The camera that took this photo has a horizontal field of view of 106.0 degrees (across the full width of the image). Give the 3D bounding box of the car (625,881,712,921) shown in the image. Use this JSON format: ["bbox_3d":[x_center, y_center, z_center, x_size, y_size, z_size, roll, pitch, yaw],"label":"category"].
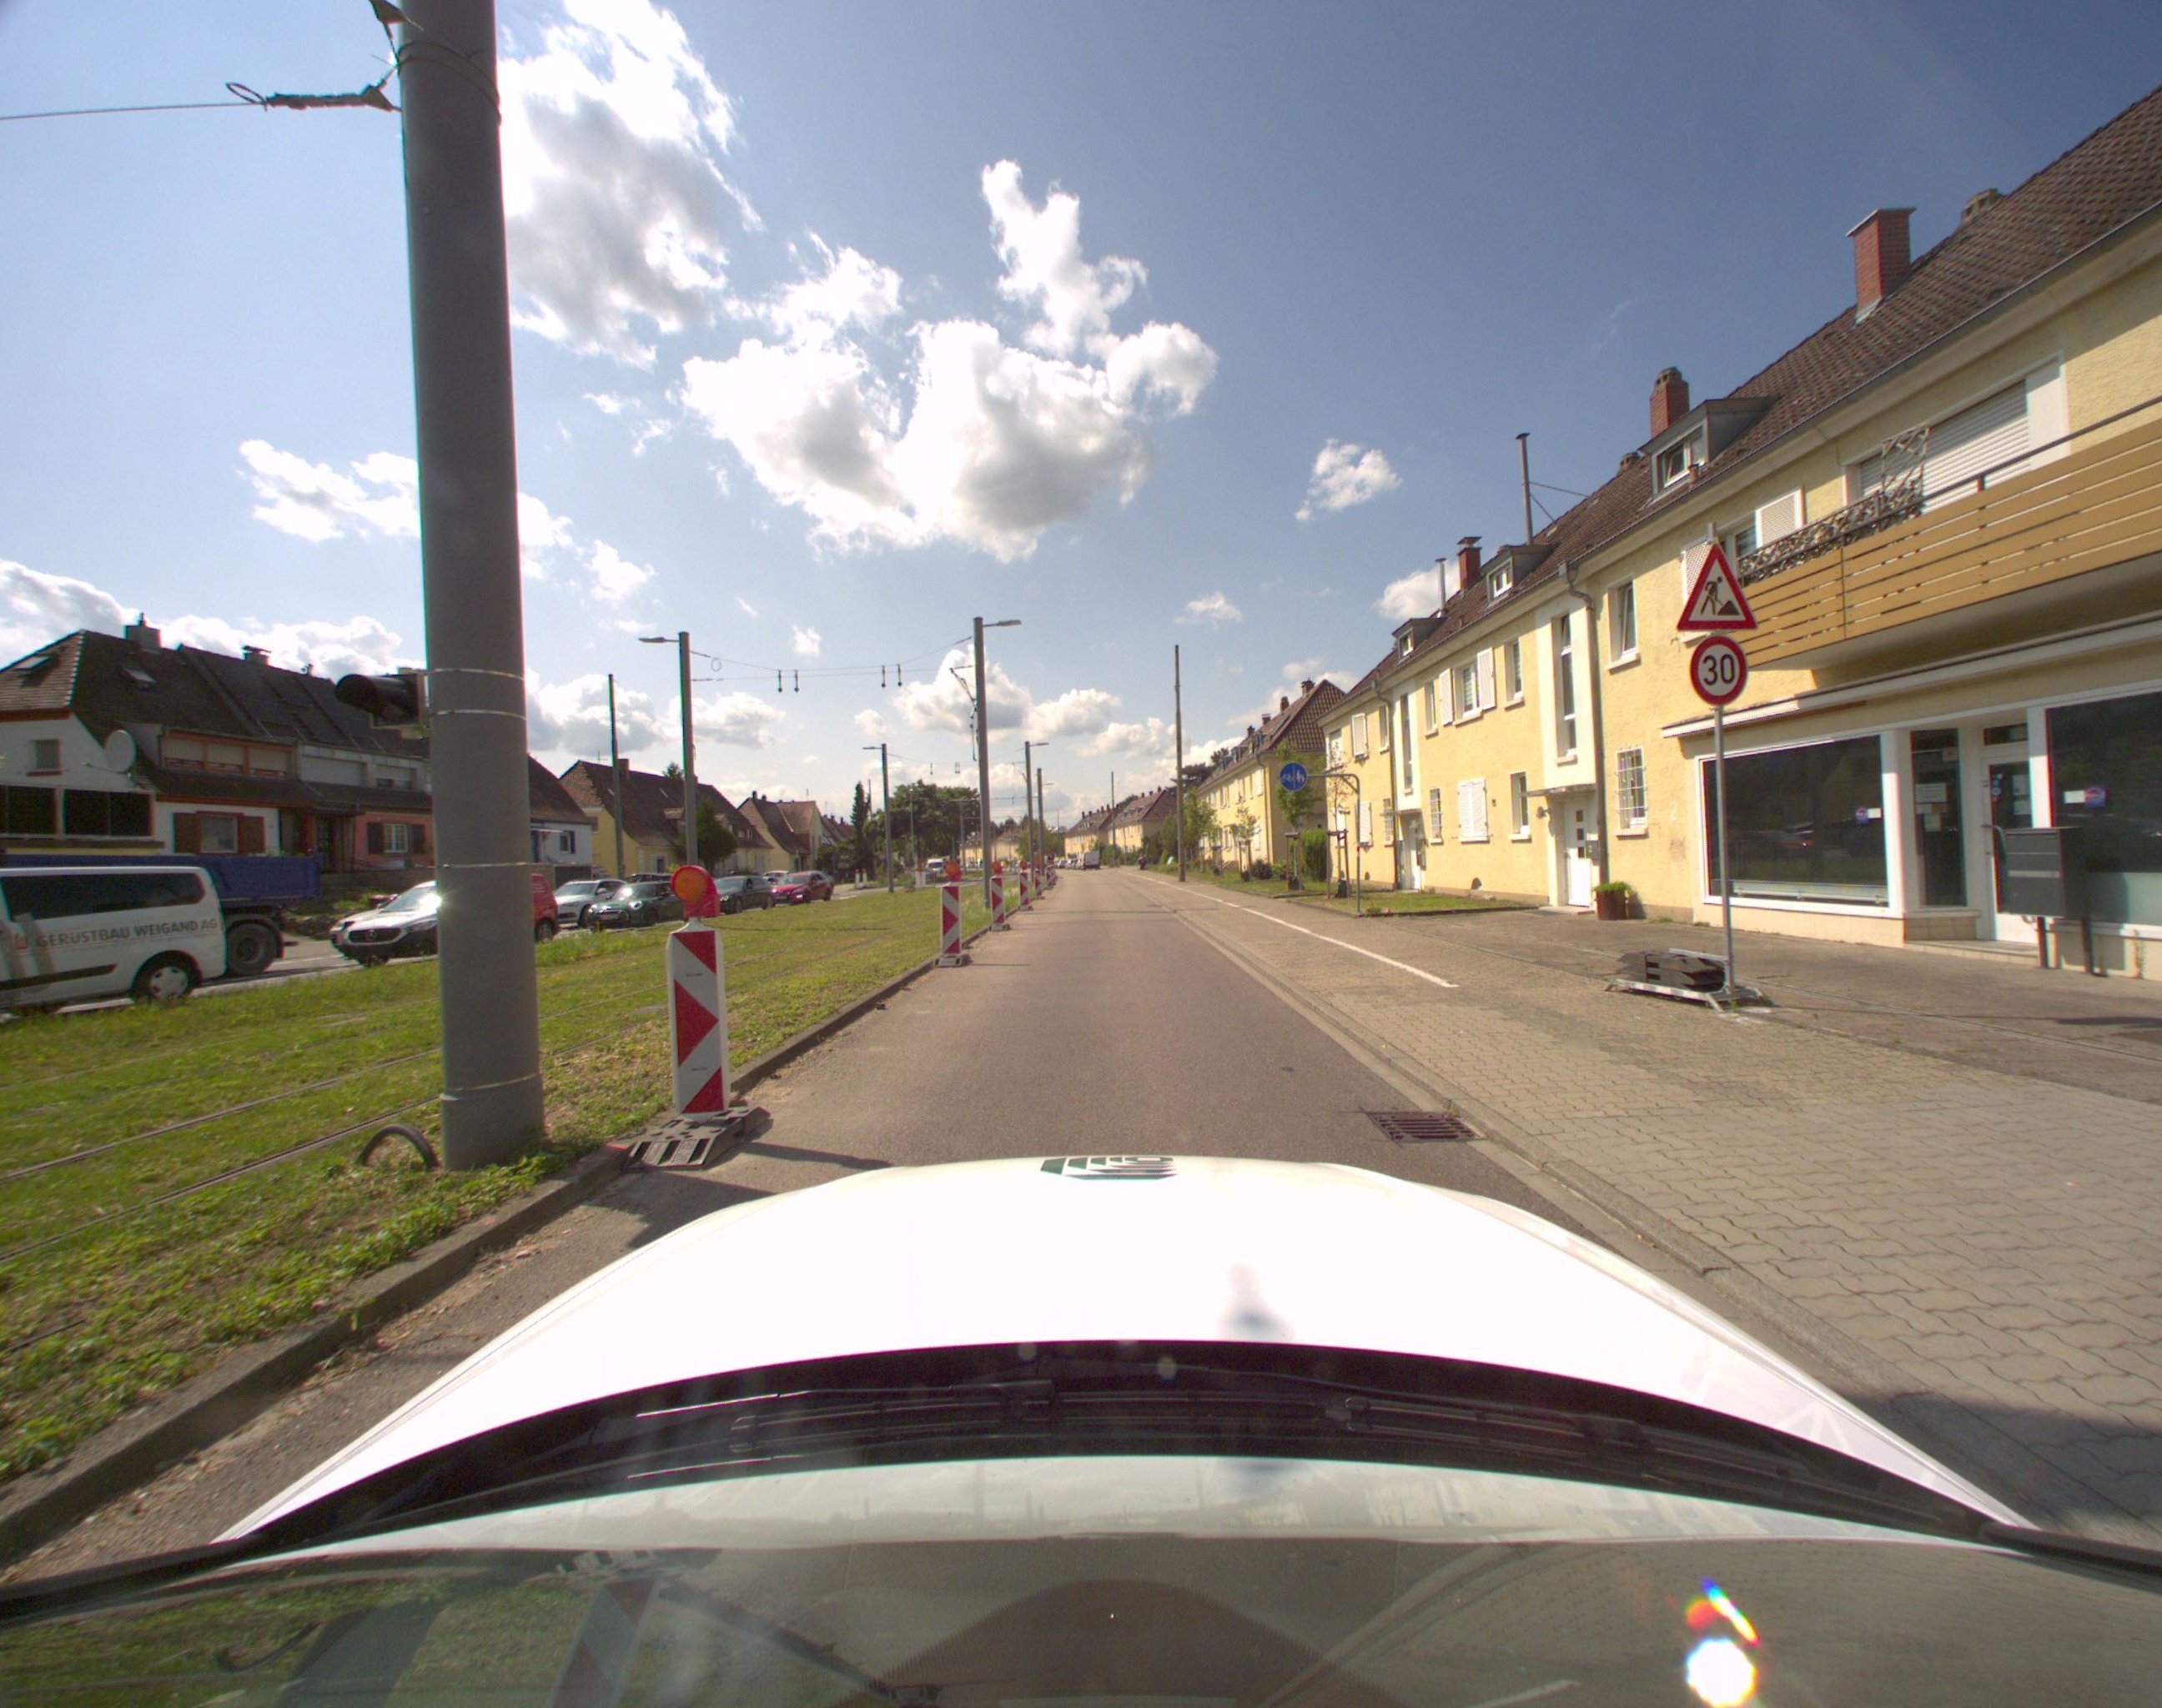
[{"bbox_3d":[-17.824,1.986,35.414,1.837,1.494,3.655,-3,-1,0],"label":"car"}]

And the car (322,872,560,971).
[{"bbox_3d":[-13.767,1.349,17.921,1.728,1.782,4.403,-3,-1,-1],"label":"car"}]

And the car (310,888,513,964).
[{"bbox_3d":[-18.307,1.891,22.595,1.837,1.659,4.438,-3,-1,1],"label":"car"}]

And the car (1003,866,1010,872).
[{"bbox_3d":[-17.835,3.539,194.938,1.261,1.426,2.649,-3,-1,-18],"label":"car"}]

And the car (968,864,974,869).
[{"bbox_3d":[-31.037,3.447,229.516,1.262,1.426,2.646,-2,-1,-21],"label":"car"}]

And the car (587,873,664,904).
[{"bbox_3d":[-26.005,1.962,46.575,3.375,1.594,1.603,2,-1,-2],"label":"car"}]

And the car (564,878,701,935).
[{"bbox_3d":[-13.421,1.509,24.694,1.909,1.419,3.998,-3,-1,-1],"label":"car"}]

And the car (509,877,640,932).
[{"bbox_3d":[-17.989,1.727,29.227,1.838,1.669,4.504,-3,-1,-1],"label":"car"}]

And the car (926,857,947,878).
[{"bbox_3d":[-17.882,1.658,100.756,2.407,2.338,4.862,-3,-1,-10],"label":"car"}]

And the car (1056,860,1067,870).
[{"bbox_3d":[-3.300,1.859,138.905,1.566,1.551,3.470,-3,-1,-7],"label":"car"}]

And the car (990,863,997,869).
[{"bbox_3d":[-22.170,3.006,206.895,1.262,1.350,2.647,-3,-1,-20],"label":"car"}]

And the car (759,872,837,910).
[{"bbox_3d":[-13.151,1.671,38.202,1.837,1.494,4.856,-3,-1,0],"label":"car"}]

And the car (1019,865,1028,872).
[{"bbox_3d":[-12.290,3.058,174.605,1.260,1.426,2.650,-3,-1,-16],"label":"car"}]

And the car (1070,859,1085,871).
[{"bbox_3d":[-0.507,1.512,115.154,1.566,1.551,3.780,-3,-1,-6],"label":"car"}]

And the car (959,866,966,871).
[{"bbox_3d":[-34.548,4.177,236.618,1.263,1.426,2.644,-2,-1,-24],"label":"car"}]

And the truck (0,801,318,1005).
[{"bbox_3d":[-18.302,0.849,14.244,2.760,3.188,7.579,-3,-1,-1],"label":"truck"}]

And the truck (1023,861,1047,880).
[{"bbox_3d":[-9.184,3.327,162.304,2.646,3.494,9.384,-3,-1,-16],"label":"truck"}]

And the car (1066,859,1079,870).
[{"bbox_3d":[-1.264,1.505,120.719,1.566,1.551,3.780,-3,-1,-6],"label":"car"}]

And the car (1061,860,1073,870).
[{"bbox_3d":[-2.331,1.758,132.663,1.566,1.551,3.470,-3,-1,-7],"label":"car"}]

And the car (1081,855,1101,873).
[{"bbox_3d":[1.238,1.235,100.336,2.060,2.149,4.873,-3,-1,-3],"label":"car"}]

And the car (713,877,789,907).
[{"bbox_3d":[-17.258,1.962,42.877,1.836,1.343,4.780,-3,-1,2],"label":"car"}]

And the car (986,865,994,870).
[{"bbox_3d":[-23.581,3.462,210.745,1.262,1.350,2.647,-3,-1,-20],"label":"car"}]

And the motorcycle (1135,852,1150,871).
[{"bbox_3d":[5.593,0.689,74.286,1.063,1.635,2.082,-3,-1,-1],"label":"motorcycle"}]

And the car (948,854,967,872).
[{"bbox_3d":[-17.118,1.204,112.946,2.407,2.370,4.862,-3,0,-10],"label":"car"}]

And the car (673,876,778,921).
[{"bbox_3d":[-13.452,1.626,31.166,1.838,1.413,4.914,-3,-1,-1],"label":"car"}]

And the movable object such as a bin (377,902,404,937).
[{"bbox_3d":[-24.402,2.317,28.780,0.444,1.184,0.573,-3,-1,-5],"label":"movable object such as a bin"}]

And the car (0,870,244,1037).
[{"bbox_3d":[-13.608,1.231,9.964,1.809,1.922,4.746,-3,-1,-1],"label":"car"}]

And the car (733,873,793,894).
[{"bbox_3d":[-26.200,2.407,67.242,4.094,1.466,1.991,-3,-1,0],"label":"car"}]

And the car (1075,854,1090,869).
[{"bbox_3d":[0.164,1.057,109.904,1.566,1.897,3.780,-3,-1,-6],"label":"car"}]
